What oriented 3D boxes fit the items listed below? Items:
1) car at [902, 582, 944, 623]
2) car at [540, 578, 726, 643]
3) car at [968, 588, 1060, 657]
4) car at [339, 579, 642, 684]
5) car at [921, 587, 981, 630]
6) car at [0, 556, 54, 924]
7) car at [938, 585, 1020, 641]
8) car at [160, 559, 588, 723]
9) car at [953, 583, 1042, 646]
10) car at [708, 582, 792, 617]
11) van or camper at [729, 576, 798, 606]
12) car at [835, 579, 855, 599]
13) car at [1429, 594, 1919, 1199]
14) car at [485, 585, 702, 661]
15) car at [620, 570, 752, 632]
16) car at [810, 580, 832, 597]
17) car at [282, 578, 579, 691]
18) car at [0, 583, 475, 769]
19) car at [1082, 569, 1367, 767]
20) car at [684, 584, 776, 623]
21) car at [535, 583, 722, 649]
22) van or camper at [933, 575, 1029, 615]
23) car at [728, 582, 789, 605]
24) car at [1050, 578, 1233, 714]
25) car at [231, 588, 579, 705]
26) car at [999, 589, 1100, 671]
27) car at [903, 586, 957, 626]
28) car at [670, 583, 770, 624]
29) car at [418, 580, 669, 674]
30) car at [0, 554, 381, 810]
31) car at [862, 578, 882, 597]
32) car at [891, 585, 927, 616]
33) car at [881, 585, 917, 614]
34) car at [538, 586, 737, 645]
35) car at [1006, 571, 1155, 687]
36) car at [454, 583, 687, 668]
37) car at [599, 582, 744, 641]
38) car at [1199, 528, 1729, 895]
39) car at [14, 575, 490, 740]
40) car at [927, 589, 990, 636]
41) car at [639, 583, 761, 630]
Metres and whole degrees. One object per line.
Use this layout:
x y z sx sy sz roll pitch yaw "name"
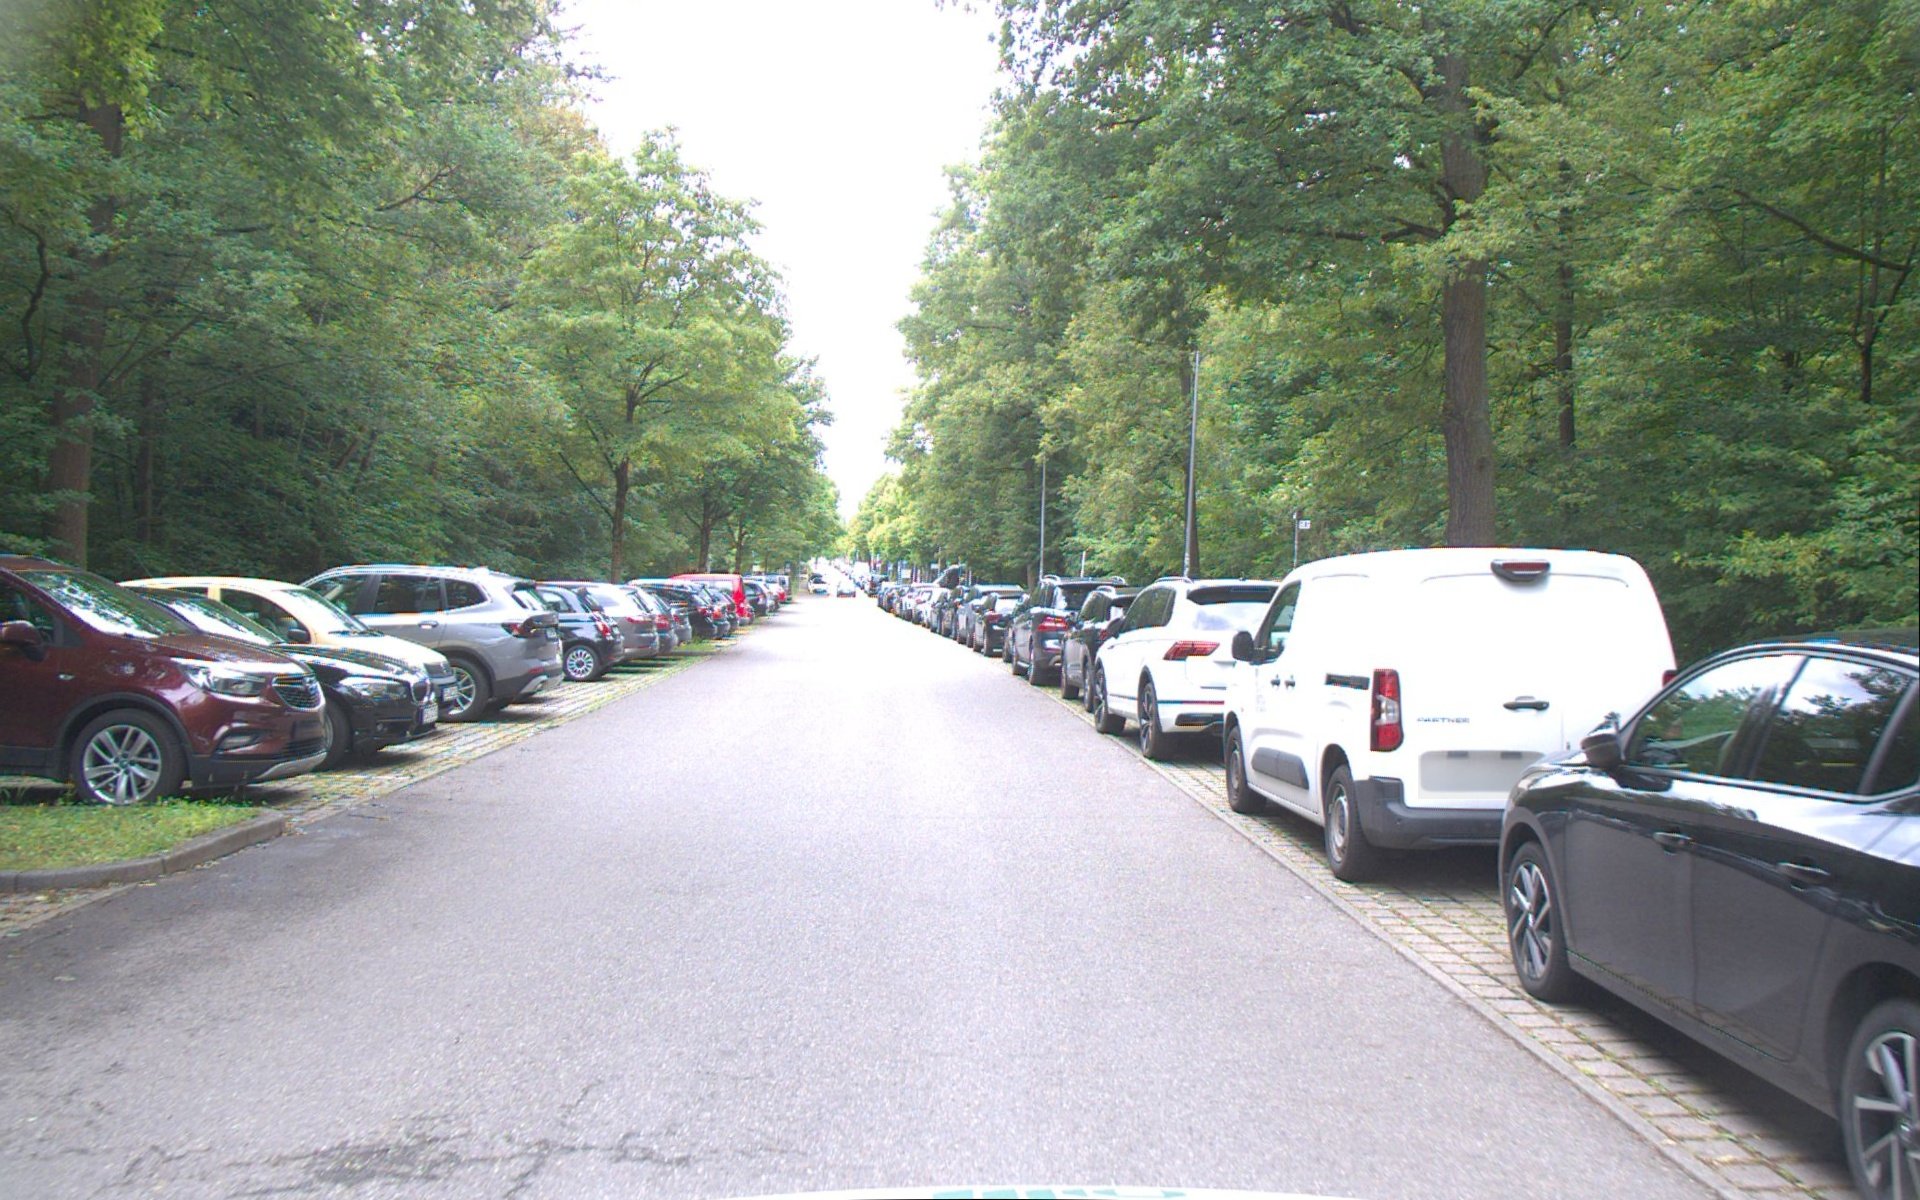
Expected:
-1.664 0.084 73.777 1.677 1.758 3.997 1 0 -4 "car"
-8.627 0.260 43.944 4.639 1.623 1.957 1 0 -5 "car"
1.210 0.488 38.904 1.605 1.503 4.146 1 0 -6 "car"
-7.444 0.490 26.542 4.312 1.514 1.837 1 0 -2 "car"
-0.364 0.297 62.164 1.899 1.501 3.988 1 1 -5 "car"
-6.055 0.574 6.437 3.954 1.582 1.918 1 0 -4 "car"
0.531 0.364 50.367 1.941 1.564 4.160 1 1 -7 "car"
-6.546 0.441 18.880 4.140 1.661 2.028 1 0 -3 "car"
0.957 0.360 44.750 1.939 1.564 4.617 1 1 -5 "car"
-10.257 -0.030 80.881 3.908 1.669 2.008 1 0 -4 "car"
-13.581 -0.626 114.260 4.406 1.900 1.910 1 3 -19 "van or camper"
-9.906 -0.967 142.697 1.658 1.440 3.151 2 3 -5 "car"
2.993 0.736 5.231 1.690 1.447 4.283 1 1 -1 "car"
-7.461 0.448 33.980 4.027 1.456 1.963 1 0 -2 "car"
-8.461 0.020 51.421 3.911 1.848 2.112 1 0 -7 "car"
-12.200 -1.011 145.091 1.704 1.182 3.410 2 3 -3 "car"
-7.569 0.480 23.926 3.790 1.476 1.658 1 1 -6 "car"
-6.317 0.599 13.992 3.908 1.388 1.785 1 0 -4 "car"
2.474 0.566 16.723 1.751 1.691 4.713 1 1 -5 "car"
-10.195 0.134 73.608 3.908 1.669 1.733 1 0 -4 "car"
-7.745 0.362 38.945 4.216 1.474 1.753 1 0 -9 "car"
1.690 -0.430 134.084 7.212 2.938 2.636 1 3 -19 "van or camper"
-12.631 -0.399 103.496 3.520 1.385 1.820 1 0 -17 "car"
2.361 0.547 22.606 1.716 1.635 4.443 1 1 -4 "car"
-7.050 0.579 21.351 3.902 1.333 1.808 1 1 -6 "car"
1.777 0.562 33.894 1.567 1.530 4.087 1 1 -4 "car"
-1.253 0.230 68.167 1.690 1.520 3.766 1 1 -9 "car"
-9.564 0.131 66.154 3.757 1.563 1.869 1 0 -4 "car"
-7.235 0.458 29.090 4.011 1.550 1.927 1 0 -7 "car"
-6.559 0.498 11.427 4.425 1.612 1.926 1 0 -3 "car"
-7.863 -1.103 147.973 1.596 1.440 3.408 2 3 -5 "car"
-2.670 -0.009 86.148 1.677 1.535 3.997 1 1 -4 "car"
-3.459 -0.061 93.323 1.883 1.547 3.884 1 1 -3 "car"
-7.977 0.371 41.283 4.639 1.367 1.985 1 0 -5 "car"
1.951 0.426 28.315 1.852 1.777 4.944 1 1 -4 "car"
-7.314 0.458 31.396 4.029 1.506 1.995 1 0 -5 "car"
-8.054 0.306 46.451 3.912 1.557 1.996 1 0 -9 "car"
2.860 0.542 10.552 1.710 1.811 4.549 1 1 -4 "car"
-6.935 0.538 16.522 3.941 1.490 1.798 1 0 -1 "car"
-0.097 0.407 55.395 1.634 1.470 3.808 1 1 -7 "car"
-8.799 0.222 56.255 3.908 1.500 2.113 1 0 -4 "car"
